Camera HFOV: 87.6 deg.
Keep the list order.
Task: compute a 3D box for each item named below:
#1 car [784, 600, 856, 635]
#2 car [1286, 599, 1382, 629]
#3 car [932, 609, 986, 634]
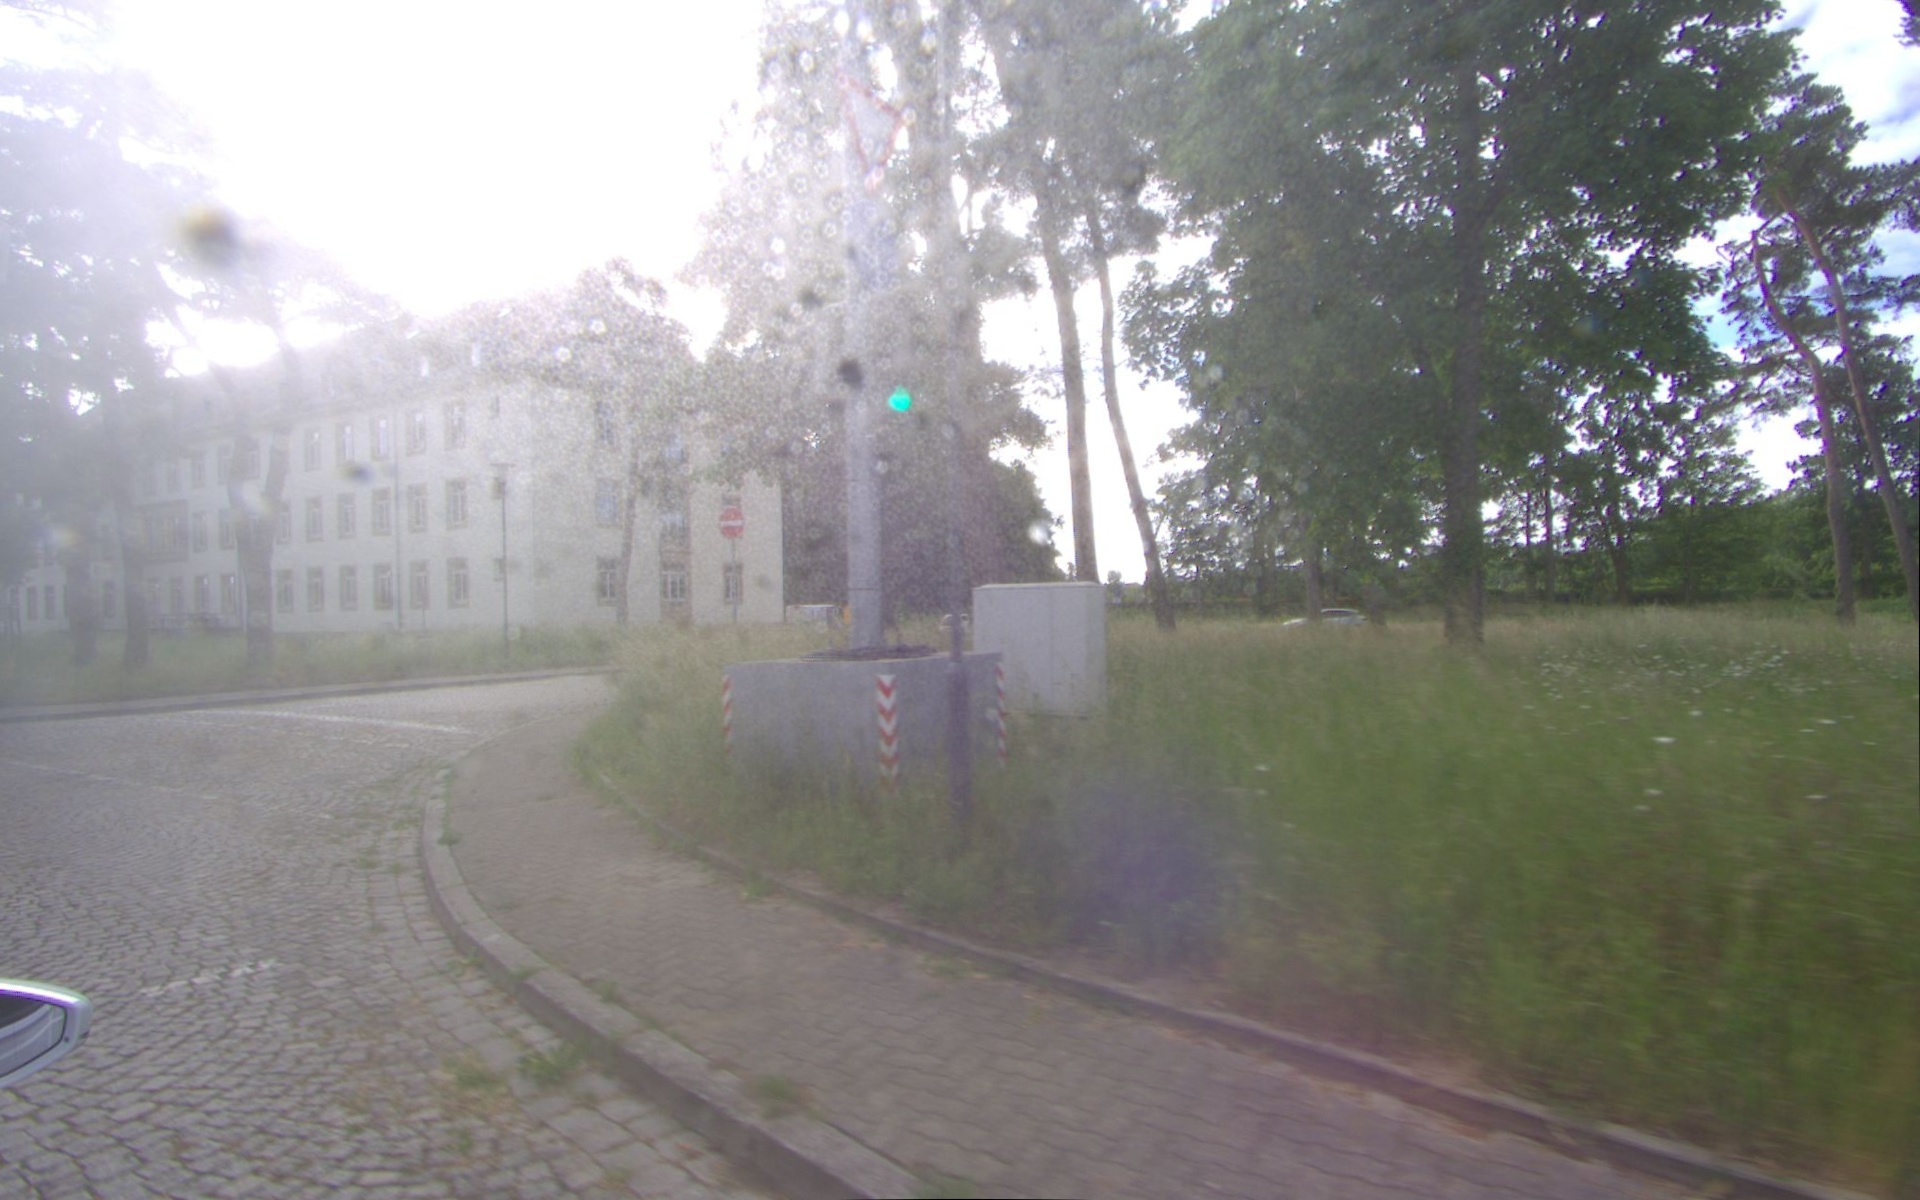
[{"bbox_3d":[-9.628,1.206,69.300,2.181,2.318,5.172,-1,0,31],"label":"car"},{"bbox_3d":[18.893,0.730,50.757,4.174,1.434,1.888,-1,0,2],"label":"car"},{"bbox_3d":[-0.052,1.389,64.638,1.971,1.527,3.476,-1,0,31],"label":"car"}]
